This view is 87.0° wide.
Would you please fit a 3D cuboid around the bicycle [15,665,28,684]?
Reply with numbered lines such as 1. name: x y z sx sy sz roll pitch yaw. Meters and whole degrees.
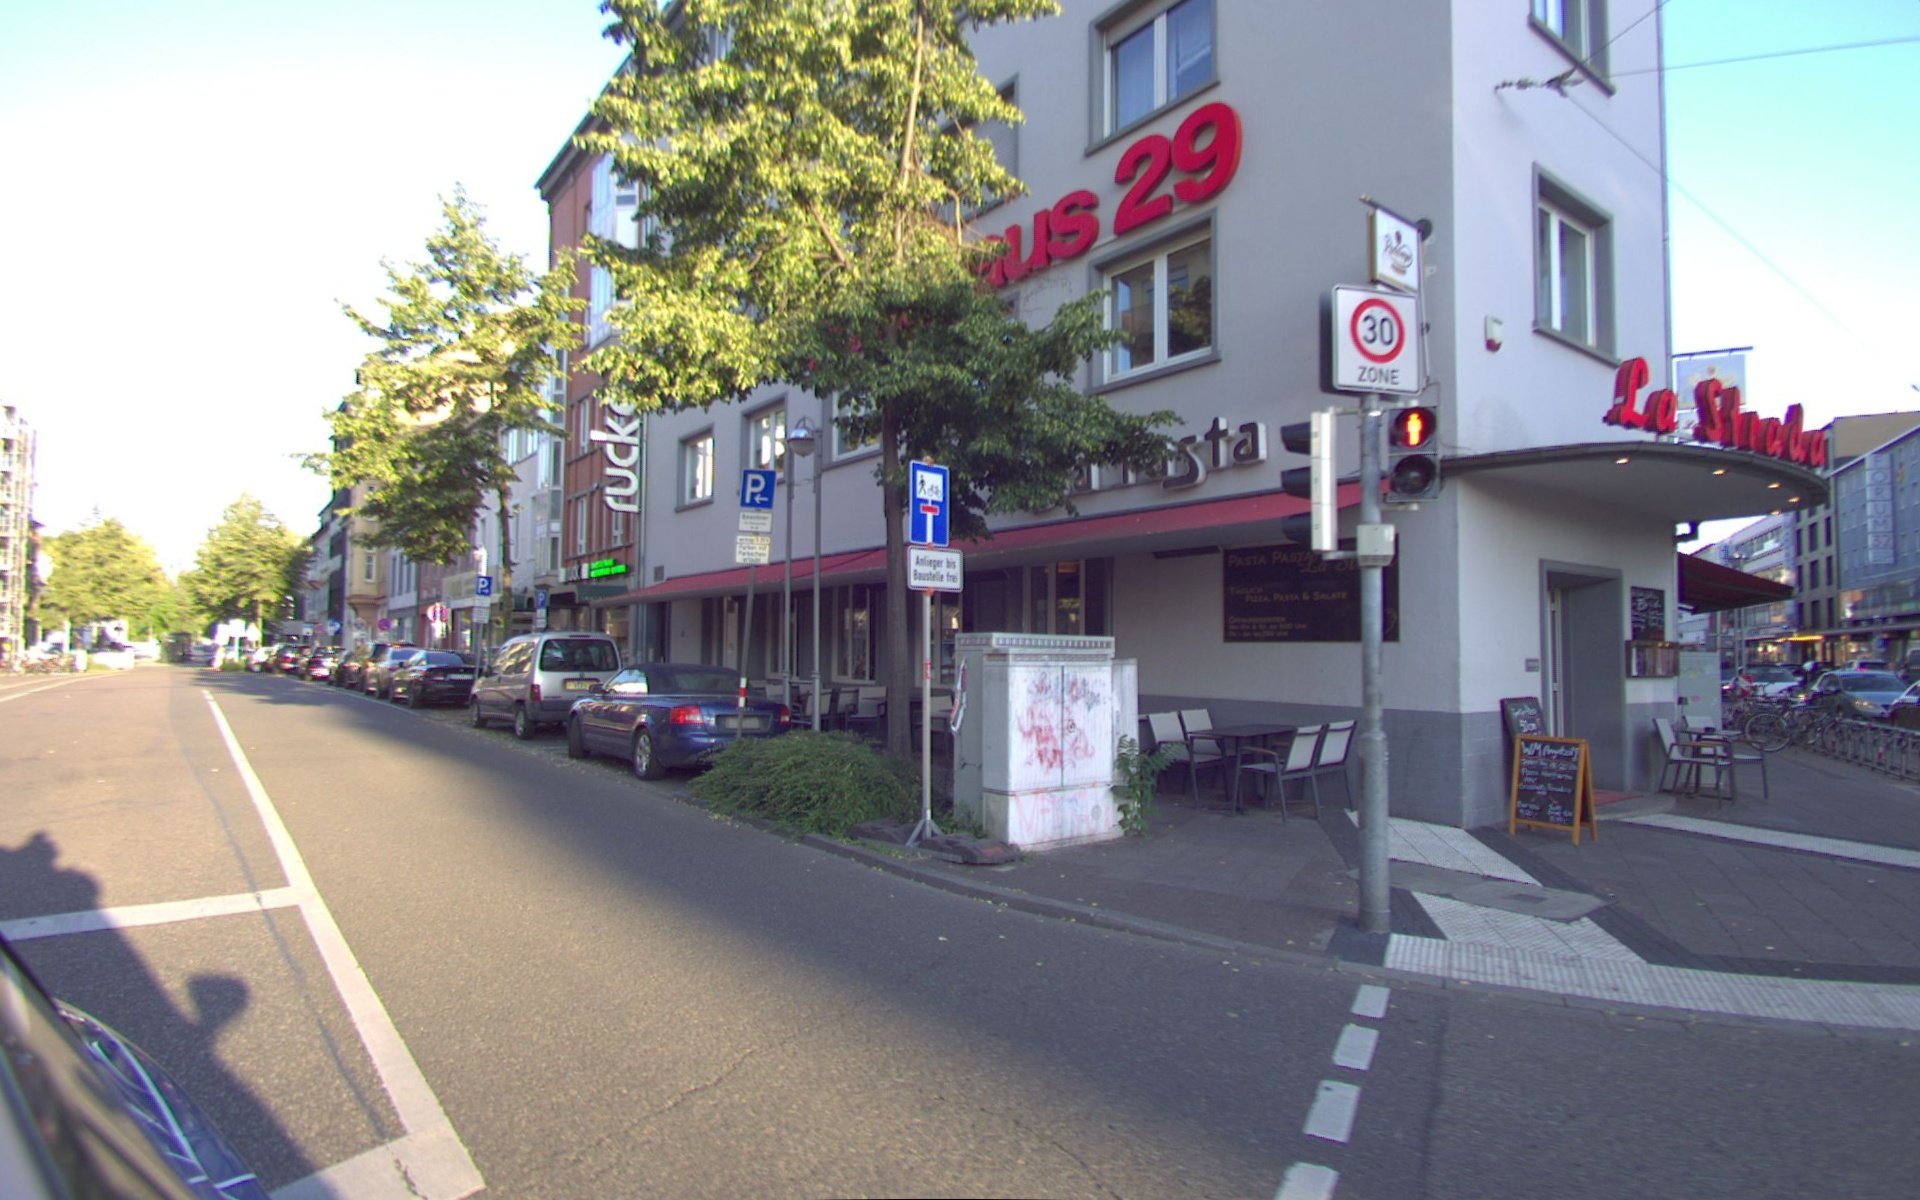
1. bicycle: -50.135 3.956 54.040 0.463 0.965 1.921 3 -4 -43

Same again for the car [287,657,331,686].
1. car: -34.897 3.821 54.211 1.663 1.475 3.549 4 -5 -37

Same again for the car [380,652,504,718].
1. car: -13.316 2.130 25.862 1.890 1.522 4.647 4 -5 -38

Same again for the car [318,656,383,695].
1. car: -24.707 3.031 40.970 1.743 1.522 4.226 4 -5 -37

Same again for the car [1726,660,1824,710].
1. car: 26.266 2.715 32.729 1.664 1.517 3.646 -4 -5 27

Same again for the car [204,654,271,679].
1. car: -58.993 5.410 82.626 4.131 1.998 2.058 4 -5 -43

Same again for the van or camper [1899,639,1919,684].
1. van or camper: 53.716 3.326 55.047 2.184 2.445 5.468 -4 -5 26

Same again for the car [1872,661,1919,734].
1. car: 19.434 1.849 19.300 1.912 1.397 4.519 -4 -5 28

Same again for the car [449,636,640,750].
1. car: -7.568 1.609 18.228 1.891 1.801 4.153 4 -5 -41

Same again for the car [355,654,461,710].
1. car: -16.680 2.426 30.445 1.967 1.522 5.123 4 -5 -37

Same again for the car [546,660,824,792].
1. car: -3.739 1.509 13.232 1.890 1.397 4.390 4 -5 -38

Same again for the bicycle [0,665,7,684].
1. bicycle: -50.535 3.938 53.311 0.463 0.965 1.921 3 -4 -43

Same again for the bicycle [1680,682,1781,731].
1. bicycle: 18.321 2.515 24.104 1.854 0.991 0.458 2 -2 29

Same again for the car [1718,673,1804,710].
1. car: 29.834 3.391 37.822 1.664 1.237 4.233 -4 -5 27

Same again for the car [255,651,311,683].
1. car: -38.511 3.784 57.494 2.024 1.766 4.223 4 -5 -41

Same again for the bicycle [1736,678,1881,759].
1. bicycle: 14.931 2.067 17.877 1.854 1.236 0.601 2 -2 29

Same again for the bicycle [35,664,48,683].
1. bicycle: -49.623 3.965 54.662 0.463 0.965 1.921 3 -4 -43

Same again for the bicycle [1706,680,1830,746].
1. bicycle: 16.241 2.253 20.396 1.854 1.143 0.601 2 -2 29

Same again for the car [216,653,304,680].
1. car: -42.912 4.112 62.120 4.131 1.594 2.058 4 -5 -43

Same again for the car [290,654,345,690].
1. car: -30.161 3.357 47.458 1.743 1.626 4.226 4 -5 -37

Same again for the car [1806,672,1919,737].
1. car: 22.344 2.496 24.674 1.756 1.397 4.021 -4 -5 28

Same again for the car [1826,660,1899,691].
1. car: 49.223 4.071 55.315 1.941 1.557 4.500 -1 -3 28

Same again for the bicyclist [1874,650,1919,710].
1. bicyclist: 25.071 2.130 27.075 0.692 1.577 0.792 -1 -4 27

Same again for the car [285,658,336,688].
1. car: -32.679 3.646 50.882 1.743 1.475 3.875 4 -5 -37

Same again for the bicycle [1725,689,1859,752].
1. bicycle: 15.660 2.248 19.107 1.854 0.991 0.601 2 -2 29

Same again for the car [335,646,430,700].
1. car: -20.709 2.573 36.168 1.968 1.783 5.308 4 -5 -40

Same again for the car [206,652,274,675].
1. car: -55.857 4.921 78.560 4.070 1.689 1.999 4 -5 -42

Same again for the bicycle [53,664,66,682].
1. bicycle: -49.119 3.972 55.216 0.463 0.965 1.921 3 -4 -43
